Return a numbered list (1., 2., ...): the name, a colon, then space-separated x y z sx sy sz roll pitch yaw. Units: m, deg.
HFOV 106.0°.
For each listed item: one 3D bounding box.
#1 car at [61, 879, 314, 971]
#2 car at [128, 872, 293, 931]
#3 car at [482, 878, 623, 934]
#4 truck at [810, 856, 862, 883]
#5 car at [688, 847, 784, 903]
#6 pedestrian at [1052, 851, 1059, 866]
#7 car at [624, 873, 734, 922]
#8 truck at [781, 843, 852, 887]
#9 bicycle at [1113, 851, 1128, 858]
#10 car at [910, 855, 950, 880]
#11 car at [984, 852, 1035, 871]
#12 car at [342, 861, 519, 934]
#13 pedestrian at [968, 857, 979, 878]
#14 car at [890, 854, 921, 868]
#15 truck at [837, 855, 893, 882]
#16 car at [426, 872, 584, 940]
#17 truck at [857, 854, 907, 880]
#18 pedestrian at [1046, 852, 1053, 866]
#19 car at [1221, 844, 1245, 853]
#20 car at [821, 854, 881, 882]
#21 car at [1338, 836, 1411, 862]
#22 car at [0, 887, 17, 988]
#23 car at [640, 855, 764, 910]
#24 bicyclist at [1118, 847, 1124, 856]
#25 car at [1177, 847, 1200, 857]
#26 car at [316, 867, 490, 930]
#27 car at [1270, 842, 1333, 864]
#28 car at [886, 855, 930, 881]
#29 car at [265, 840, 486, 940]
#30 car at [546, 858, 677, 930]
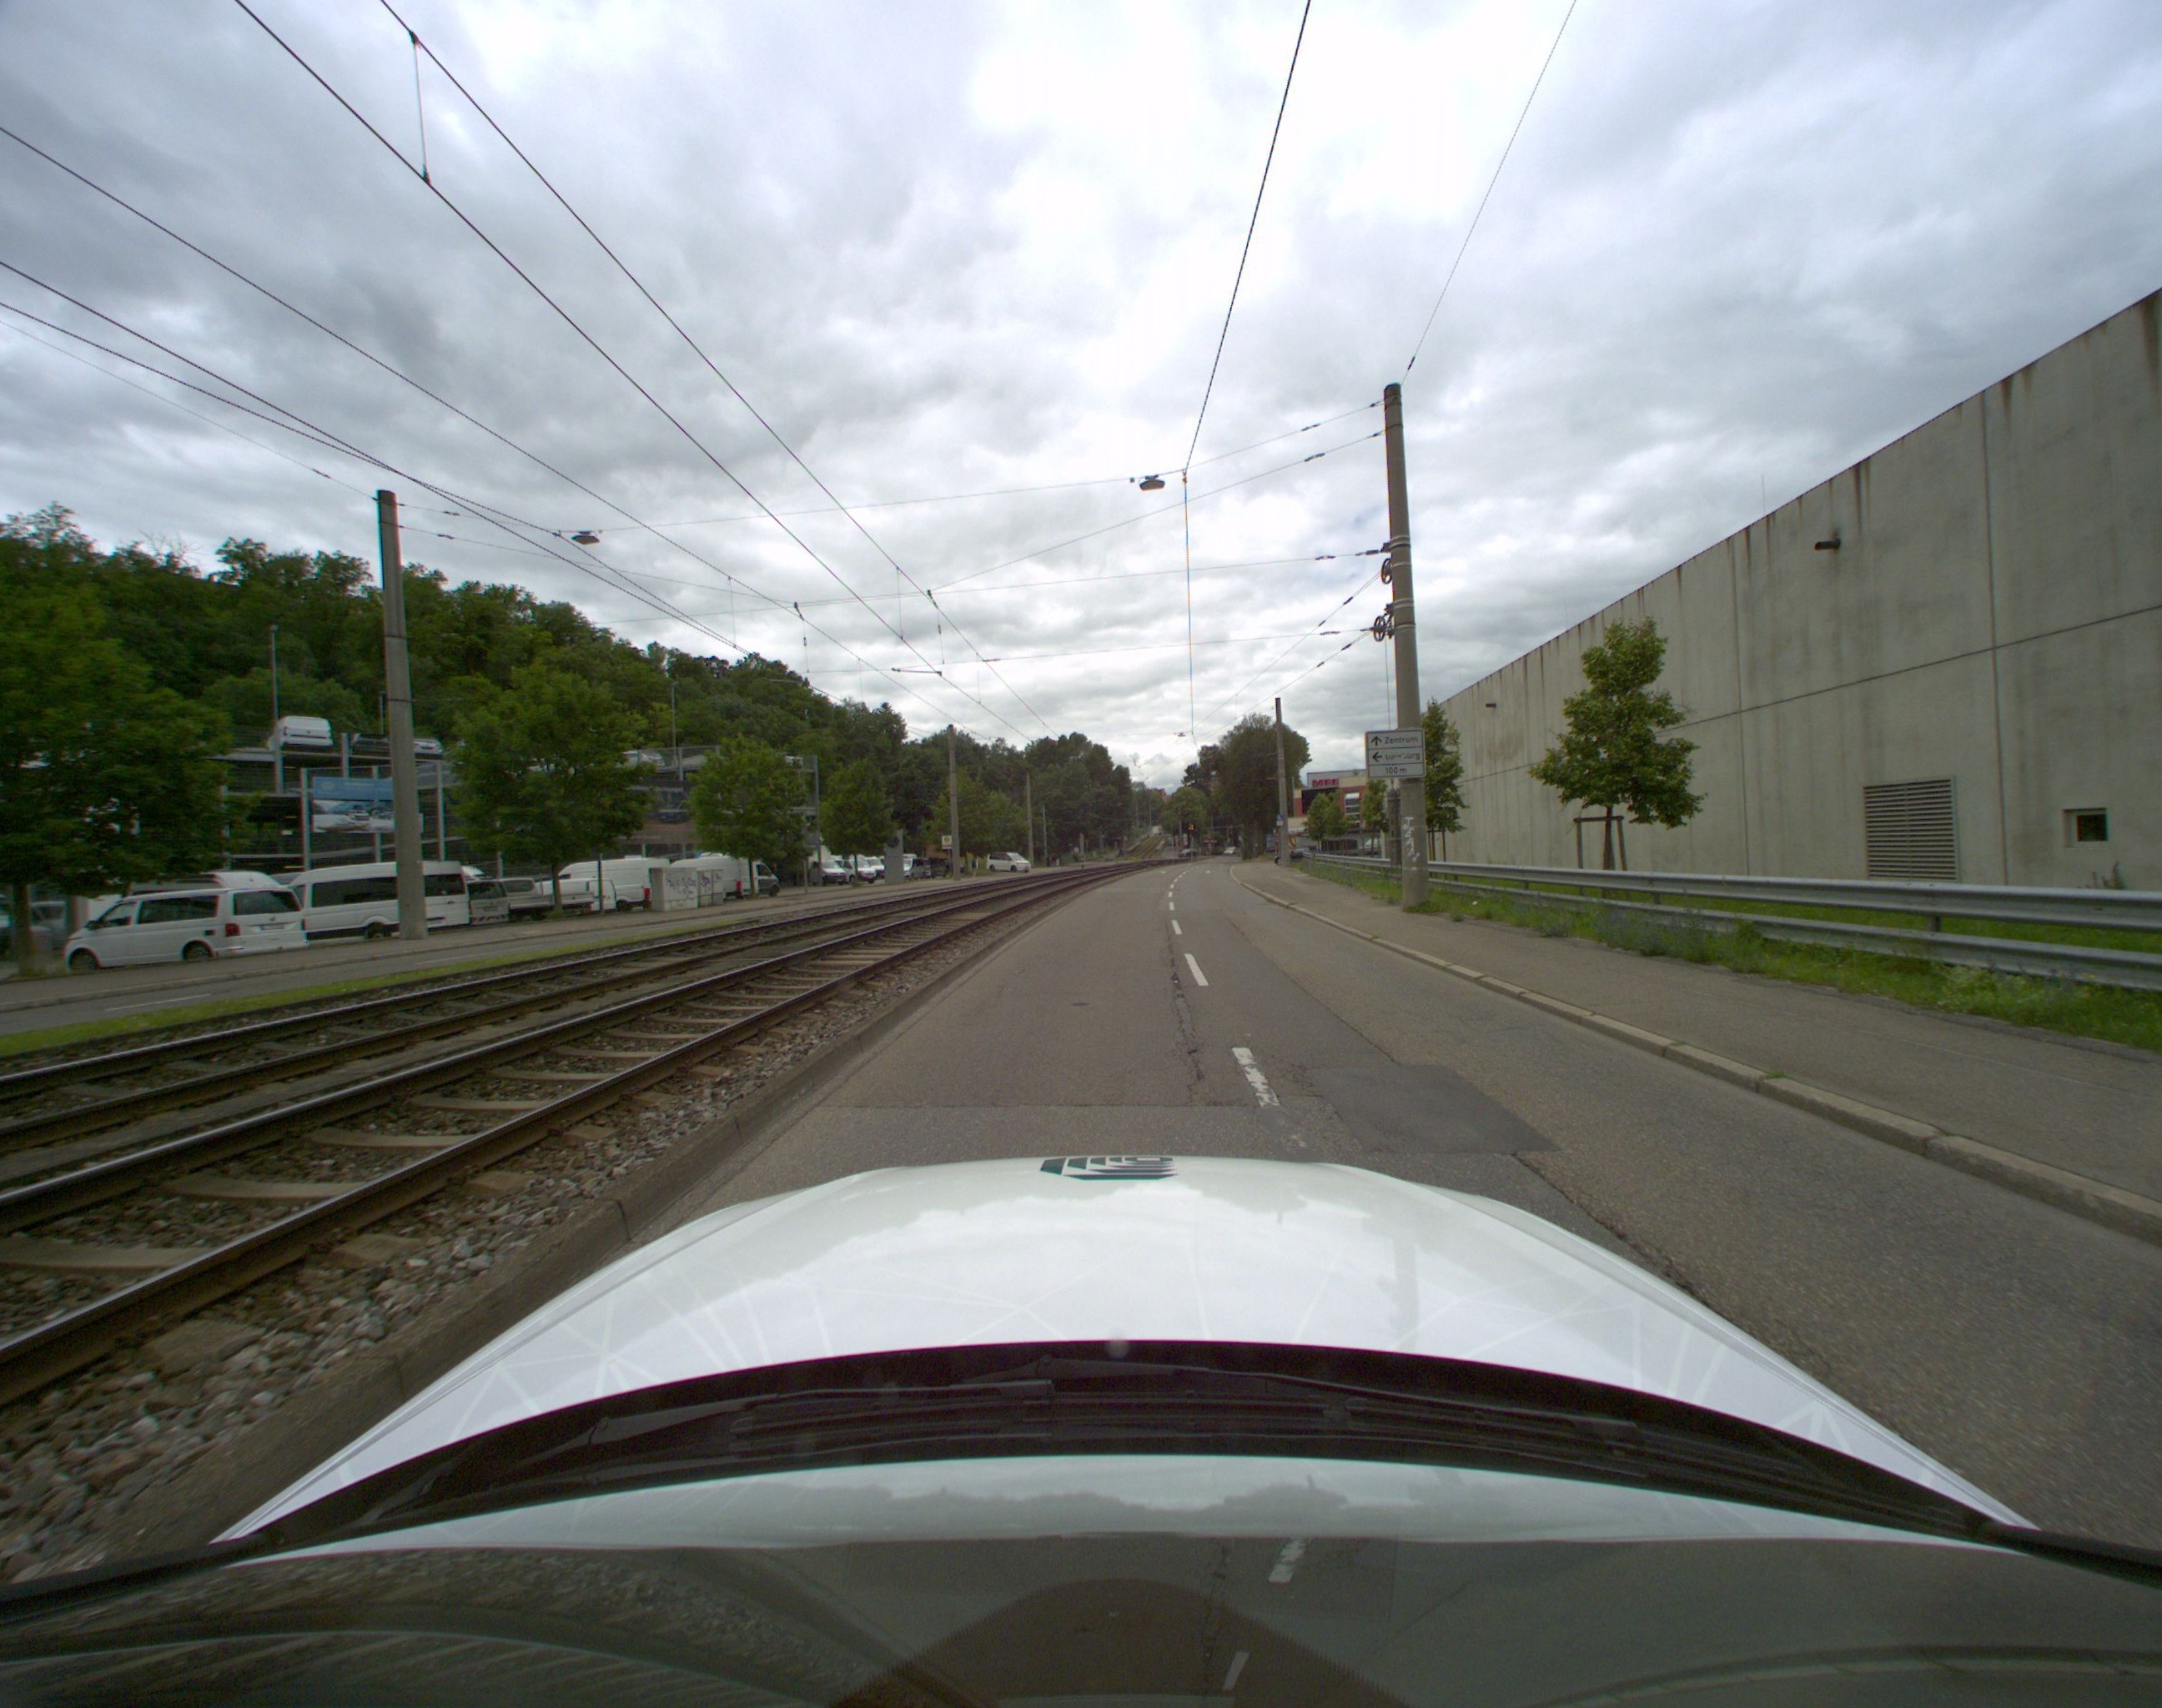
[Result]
1. car: -22.557 1.753 20.677 4.345 2.010 2.007 -2 0 5
2. car: -33.542 1.808 31.415 4.812 2.013 2.006 -3 0 10
3. car: -21.088 2.056 32.616 4.345 1.910 2.007 -2 0 5
4. truck: -25.459 1.619 84.589 5.006 2.588 2.484 -3 0 34
5. car: -20.223 1.145 48.096 2.094 3.019 5.955 -3 0 11
6. pedestrian: -3.080 0.535 98.269 0.672 1.813 0.858 -1 0 12
7. car: -19.700 2.100 39.999 4.345 2.105 2.007 -2 0 5
8. truck: -20.372 0.880 62.571 5.861 3.085 2.133 -3 0 38
9. bicycle: 7.851 0.132 161.492 2.969 1.343 0.828 -3 -1 8
10. car: -13.761 1.202 74.665 1.982 2.013 5.141 -3 0 8
11. car: -7.238 0.744 82.224 5.007 1.888 2.180 0 0 40
12. car: -21.769 1.423 27.360 4.345 2.173 2.007 -2 0 5
13. pedestrian: -8.716 1.064 66.071 0.715 1.655 1.043 0 0 2
14. car: -28.188 1.088 130.943 1.974 2.013 4.431 -2 0 40
15. truck: -22.958 1.532 86.577 5.703 2.588 2.484 -3 0 34
16. car: -21.007 1.864 29.798 4.345 2.173 2.007 -2 0 5
17. truck: -21.736 1.448 88.960 5.006 2.588 2.484 -3 0 34
18. pedestrian: -3.813 0.569 98.384 0.624 1.713 0.858 -1 0 12
19. car: 28.826 -0.969 154.613 4.272 1.532 1.877 0 -4 -34
20. car: -18.322 1.151 64.837 4.669 2.013 2.013 -3 0 36
21. car: 21.049 -0.338 58.445 4.516 1.548 2.149 -3 -1 -16
22. car: -23.356 1.734 15.435 4.339 1.947 2.010 -2 0 9
23. car: -19.871 1.489 42.809 5.440 2.602 2.252 -2 0 9
24. bicyclist: 7.852 -0.458 161.473 1.042 1.849 0.825 -3 0 7
25. car: 18.931 -0.377 143.332 4.279 1.532 1.671 1 -6 -42
26. car: -32.077 2.051 38.800 5.955 2.602 1.990 -2 0 -21
27. car: 16.589 -0.055 61.425 4.179 1.443 1.774 -2 0 38
28. car: -14.538 1.110 68.717 1.983 2.013 4.929 -3 0 7
29. car: -21.349 1.054 24.783 4.942 2.698 2.118 -2 0 5
30. car: -20.075 1.684 34.935 4.345 2.819 2.007 -2 0 5
